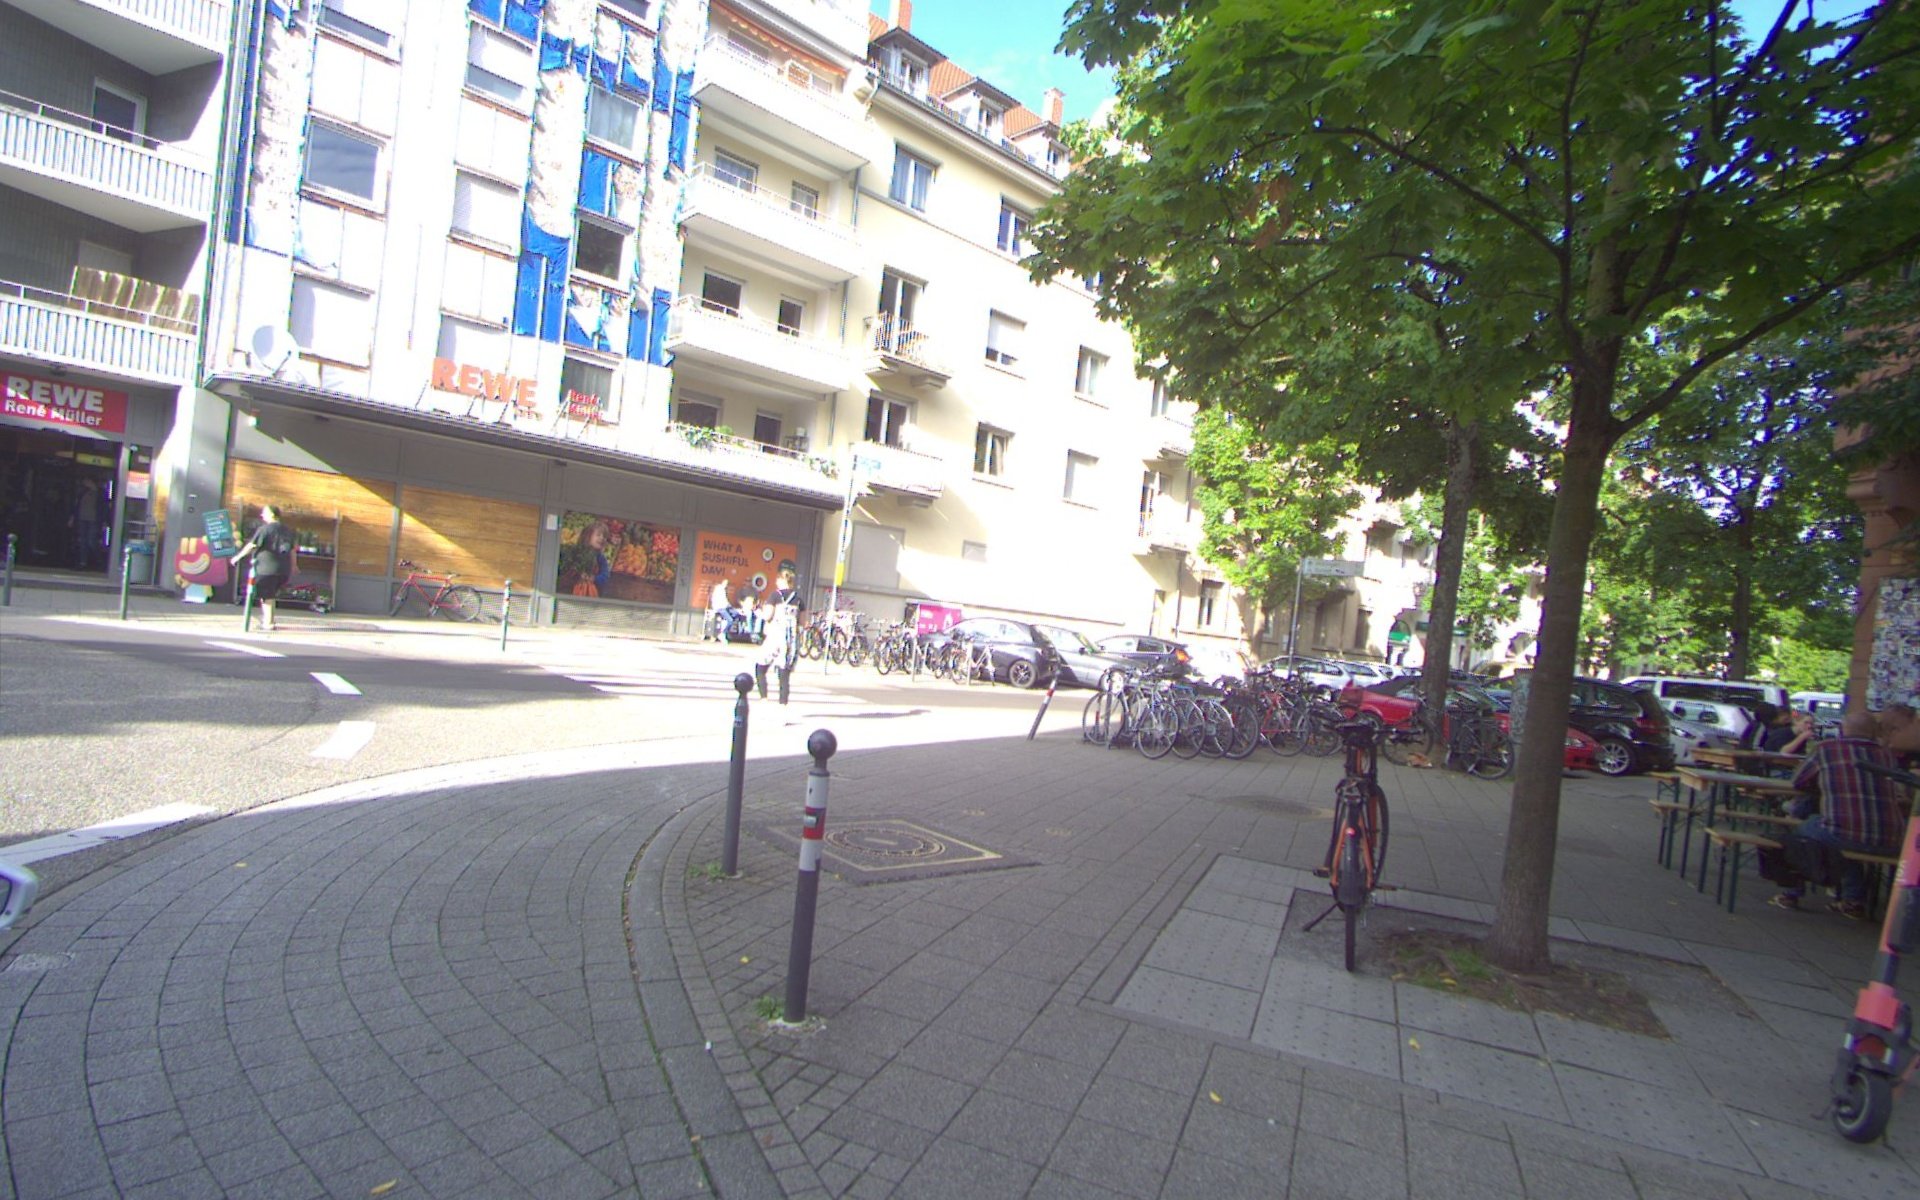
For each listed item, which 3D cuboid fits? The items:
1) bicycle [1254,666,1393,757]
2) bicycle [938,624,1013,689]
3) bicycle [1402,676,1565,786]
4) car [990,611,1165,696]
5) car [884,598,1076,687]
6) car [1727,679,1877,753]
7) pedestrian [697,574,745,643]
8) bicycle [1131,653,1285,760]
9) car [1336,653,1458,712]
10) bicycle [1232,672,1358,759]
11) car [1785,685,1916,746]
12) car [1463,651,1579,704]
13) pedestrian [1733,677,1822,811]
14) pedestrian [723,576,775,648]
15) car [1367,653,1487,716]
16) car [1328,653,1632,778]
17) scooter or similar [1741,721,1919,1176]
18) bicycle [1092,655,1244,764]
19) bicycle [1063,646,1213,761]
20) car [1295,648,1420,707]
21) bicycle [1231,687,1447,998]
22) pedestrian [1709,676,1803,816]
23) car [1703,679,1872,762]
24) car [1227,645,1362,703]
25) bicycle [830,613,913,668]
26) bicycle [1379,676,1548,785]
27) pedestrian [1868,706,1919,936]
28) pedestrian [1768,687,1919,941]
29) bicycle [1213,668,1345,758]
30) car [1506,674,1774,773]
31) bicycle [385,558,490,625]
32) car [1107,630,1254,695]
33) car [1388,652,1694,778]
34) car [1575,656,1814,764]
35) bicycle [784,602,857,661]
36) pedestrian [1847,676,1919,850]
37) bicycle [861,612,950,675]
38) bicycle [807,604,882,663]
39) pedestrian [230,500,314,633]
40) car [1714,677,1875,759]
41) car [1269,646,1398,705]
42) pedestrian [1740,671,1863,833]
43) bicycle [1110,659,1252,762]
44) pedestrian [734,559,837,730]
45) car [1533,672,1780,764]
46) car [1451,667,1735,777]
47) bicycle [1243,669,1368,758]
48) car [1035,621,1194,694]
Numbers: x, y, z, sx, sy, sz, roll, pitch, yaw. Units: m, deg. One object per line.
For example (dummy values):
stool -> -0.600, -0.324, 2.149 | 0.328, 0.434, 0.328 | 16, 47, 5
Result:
bicycle -> 5.323, 1.615, 14.820 | 1.826, 1.094, 0.425 | 4, -1, 42
bicycle -> 0.331, 1.177, 20.730 | 0.567, 1.154, 1.556 | 6, -2, 40
bicycle -> 6.918, 1.701, 13.385 | 0.423, 1.149, 1.832 | 4, 1, -36
car -> 2.955, 1.297, 24.995 | 3.924, 1.551, 2.001 | 6, 0, 16
car -> 0.497, 0.961, 23.229 | 3.924, 1.529, 2.001 | 6, 0, 16
car -> 30.575, 4.162, 36.675 | 3.942, 2.038, 1.991 | 6, 0, 40
pedestrian -> -5.488, 0.192, 23.105 | 0.747, 1.498, 0.580 | 5, 1, -41
bicycle -> 3.134, 1.334, 12.953 | 0.476, 1.103, 2.068 | 6, -1, -33
car -> 16.604, 3.117, 38.438 | 3.925, 1.682, 2.000 | 6, 0, 18
bicycle -> 4.660, 1.589, 14.086 | 1.608, 1.024, 0.339 | 3, -1, 42
car -> 38.469, 4.955, 43.508 | 1.988, 2.036, 3.954 | 9, -3, -42
car -> 25.300, 3.508, 45.489 | 4.040, 1.857, 2.003 | 6, -2, 14
pedestrian -> 10.487, 1.831, 12.905 | 0.695, 1.583, 0.635 | 6, 1, -40
pedestrian -> -4.964, 0.283, 23.675 | 0.744, 1.568, 0.723 | 8, -1, -40
car -> 18.579, 3.333, 40.207 | 3.925, 1.949, 2.000 | 6, 0, 18
car -> 8.534, 1.841, 16.746 | 1.986, 1.404, 3.954 | 7, 0, -41
scooter or similar -> 3.301, 1.117, 3.466 | 1.240, 1.290, 0.657 | 6, 0, -42
bicycle -> 2.512, 1.312, 12.405 | 0.476, 1.116, 2.010 | 6, -2, -33
bicycle -> 2.095, 1.209, 12.129 | 0.425, 1.170, 1.980 | 6, -2, -34
car -> 14.334, 2.771, 36.484 | 3.925, 1.604, 2.000 | 6, 0, 18
bicycle -> 1.930, 1.032, 4.922 | 0.641, 1.108, 1.928 | 6, 0, 28
pedestrian -> 9.752, 1.776, 12.324 | 0.695, 1.583, 0.629 | 6, 1, -39
car -> 26.900, 3.863, 32.917 | 3.937, 2.038, 1.994 | 6, 0, 35
car -> 10.806, 2.356, 32.720 | 3.924, 1.348, 2.001 | 6, 0, 17
bicycle -> -1.853, 0.870, 21.352 | 0.739, 1.045, 2.061 | 7, 0, 25
bicycle -> 6.505, 1.668, 13.100 | 0.563, 1.144, 1.833 | 6, -1, -36
pedestrian -> 6.164, 1.380, 6.116 | 0.586, 1.359, 0.759 | 6, 0, 19
pedestrian -> 5.621, 1.291, 6.289 | 0.539, 1.410, 0.759 | 6, 0, 19
bicycle -> 4.345, 1.515, 13.760 | 1.598, 1.024, 0.478 | 4, -1, 41
car -> 14.568, 2.600, 21.734 | 1.987, 1.388, 4.373 | 7, 0, -43
bicycle -> -9.885, -0.158, 19.073 | 1.664, 1.063, 0.455 | 7, 0, -27
car -> 6.396, 1.775, 29.048 | 3.924, 1.337, 2.001 | 6, 0, 17
car -> 10.539, 2.030, 18.487 | 1.987, 1.571, 4.373 | 6, 0, -43
car -> 18.197, 2.665, 25.077 | 1.987, 1.973, 4.373 | 6, 0, -43
bicycle -> -2.978, 0.697, 21.704 | 0.427, 1.155, 2.084 | 7, 0, 24
pedestrian -> 9.288, 1.587, 9.783 | 0.661, 1.583, 0.621 | 6, 1, -20
bicycle -> -1.096, 0.933, 20.920 | 0.739, 1.155, 2.324 | 7, -1, 24
bicycle -> -2.450, 0.738, 21.555 | 0.477, 1.155, 2.144 | 7, 0, 24
pedestrian -> -9.635, -0.471, 14.091 | 0.763, 1.760, 0.629 | 7, 1, 36
car -> 28.723, 4.026, 34.813 | 3.937, 2.174, 1.994 | 6, 0, 35
car -> 12.745, 2.544, 34.558 | 3.925, 1.460, 2.000 | 6, 0, 18
pedestrian -> 8.906, 1.597, 10.659 | 0.681, 1.583, 0.602 | 6, 1, -18
bicycle -> 2.749, 1.367, 12.773 | 0.338, 1.066, 2.024 | 6, -2, -33
pedestrian -> -1.975, 0.491, 11.340 | 0.775, 1.802, 0.787 | 6, 1, -28
car -> 16.292, 2.721, 23.704 | 1.987, 1.433, 4.373 | 7, 0, -43
car -> 12.580, 2.374, 20.190 | 1.987, 1.449, 4.373 | 7, 0, -43
bicycle -> 4.929, 1.608, 14.431 | 1.597, 1.024, 0.339 | 6, 1, 42
car -> 4.199, 1.517, 27.126 | 3.924, 1.440, 2.001 | 6, 0, 15
